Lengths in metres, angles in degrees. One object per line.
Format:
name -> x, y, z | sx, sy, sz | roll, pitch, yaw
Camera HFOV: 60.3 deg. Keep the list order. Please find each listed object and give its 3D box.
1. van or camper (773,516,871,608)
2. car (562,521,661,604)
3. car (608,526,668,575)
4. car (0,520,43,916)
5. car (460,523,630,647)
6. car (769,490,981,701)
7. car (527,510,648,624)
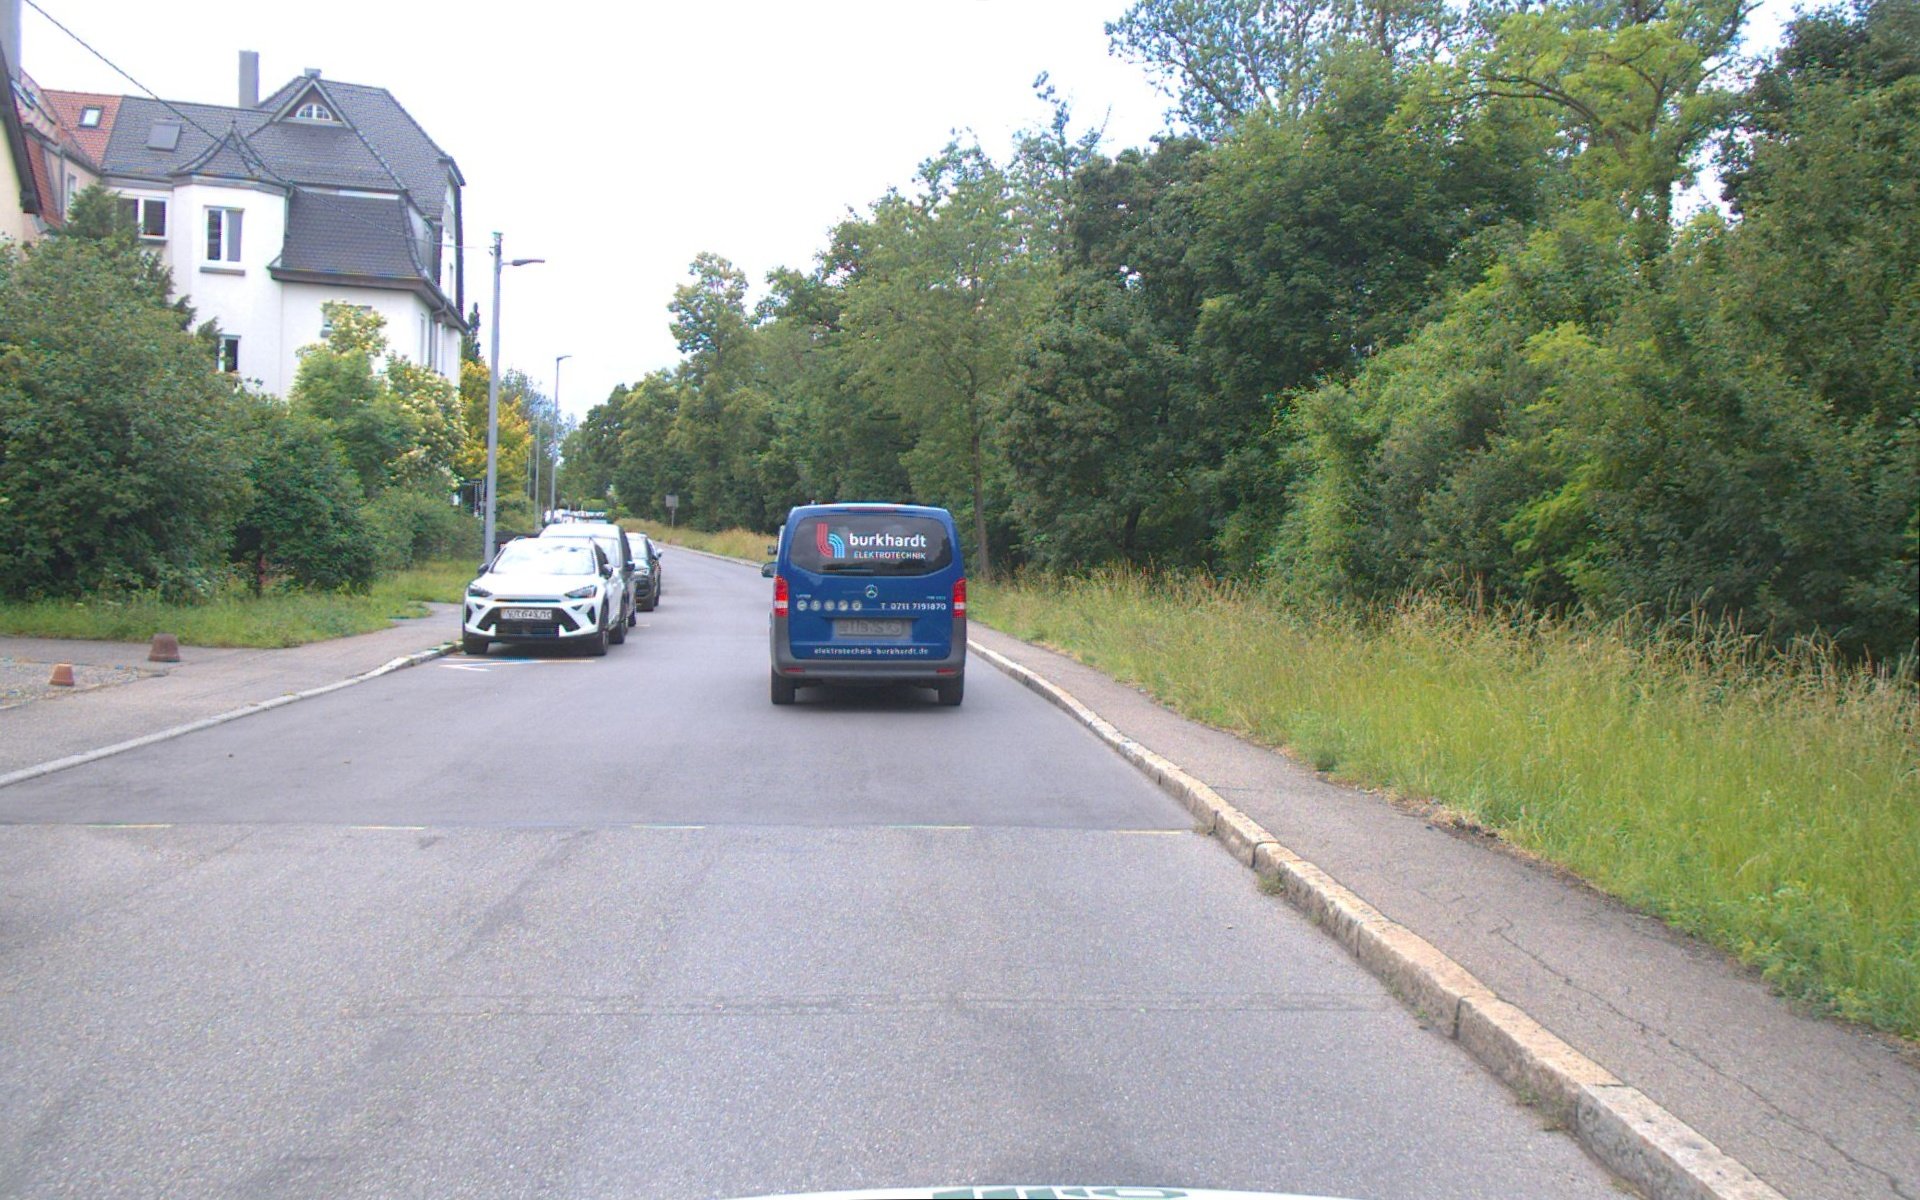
van or camper -> -3.327, -0.958, 39.048 | 1.982, 1.990, 4.888 | 0, 3, -8
car -> -7.634, -0.850, 36.553 | 1.782, 1.643, 4.216 | 3, 2, -8
car -> -9.822, -1.541, 50.585 | 1.578, 1.365, 3.849 | 3, 2, -9
car -> -4.293, 0.477, 4.537 | 1.591, 1.505, 3.925 | 2, 2, -5
car -> -5.626, -0.249, 22.898 | 1.691, 1.518, 4.408 | 1, 2, -7
car -> -0.945, -0.122, 16.887 | 1.876, 1.869, 4.290 | 0, 2, -5
car -> -6.347, -0.601, 28.579 | 1.712, 1.794, 4.405 | 1, 2, -9
